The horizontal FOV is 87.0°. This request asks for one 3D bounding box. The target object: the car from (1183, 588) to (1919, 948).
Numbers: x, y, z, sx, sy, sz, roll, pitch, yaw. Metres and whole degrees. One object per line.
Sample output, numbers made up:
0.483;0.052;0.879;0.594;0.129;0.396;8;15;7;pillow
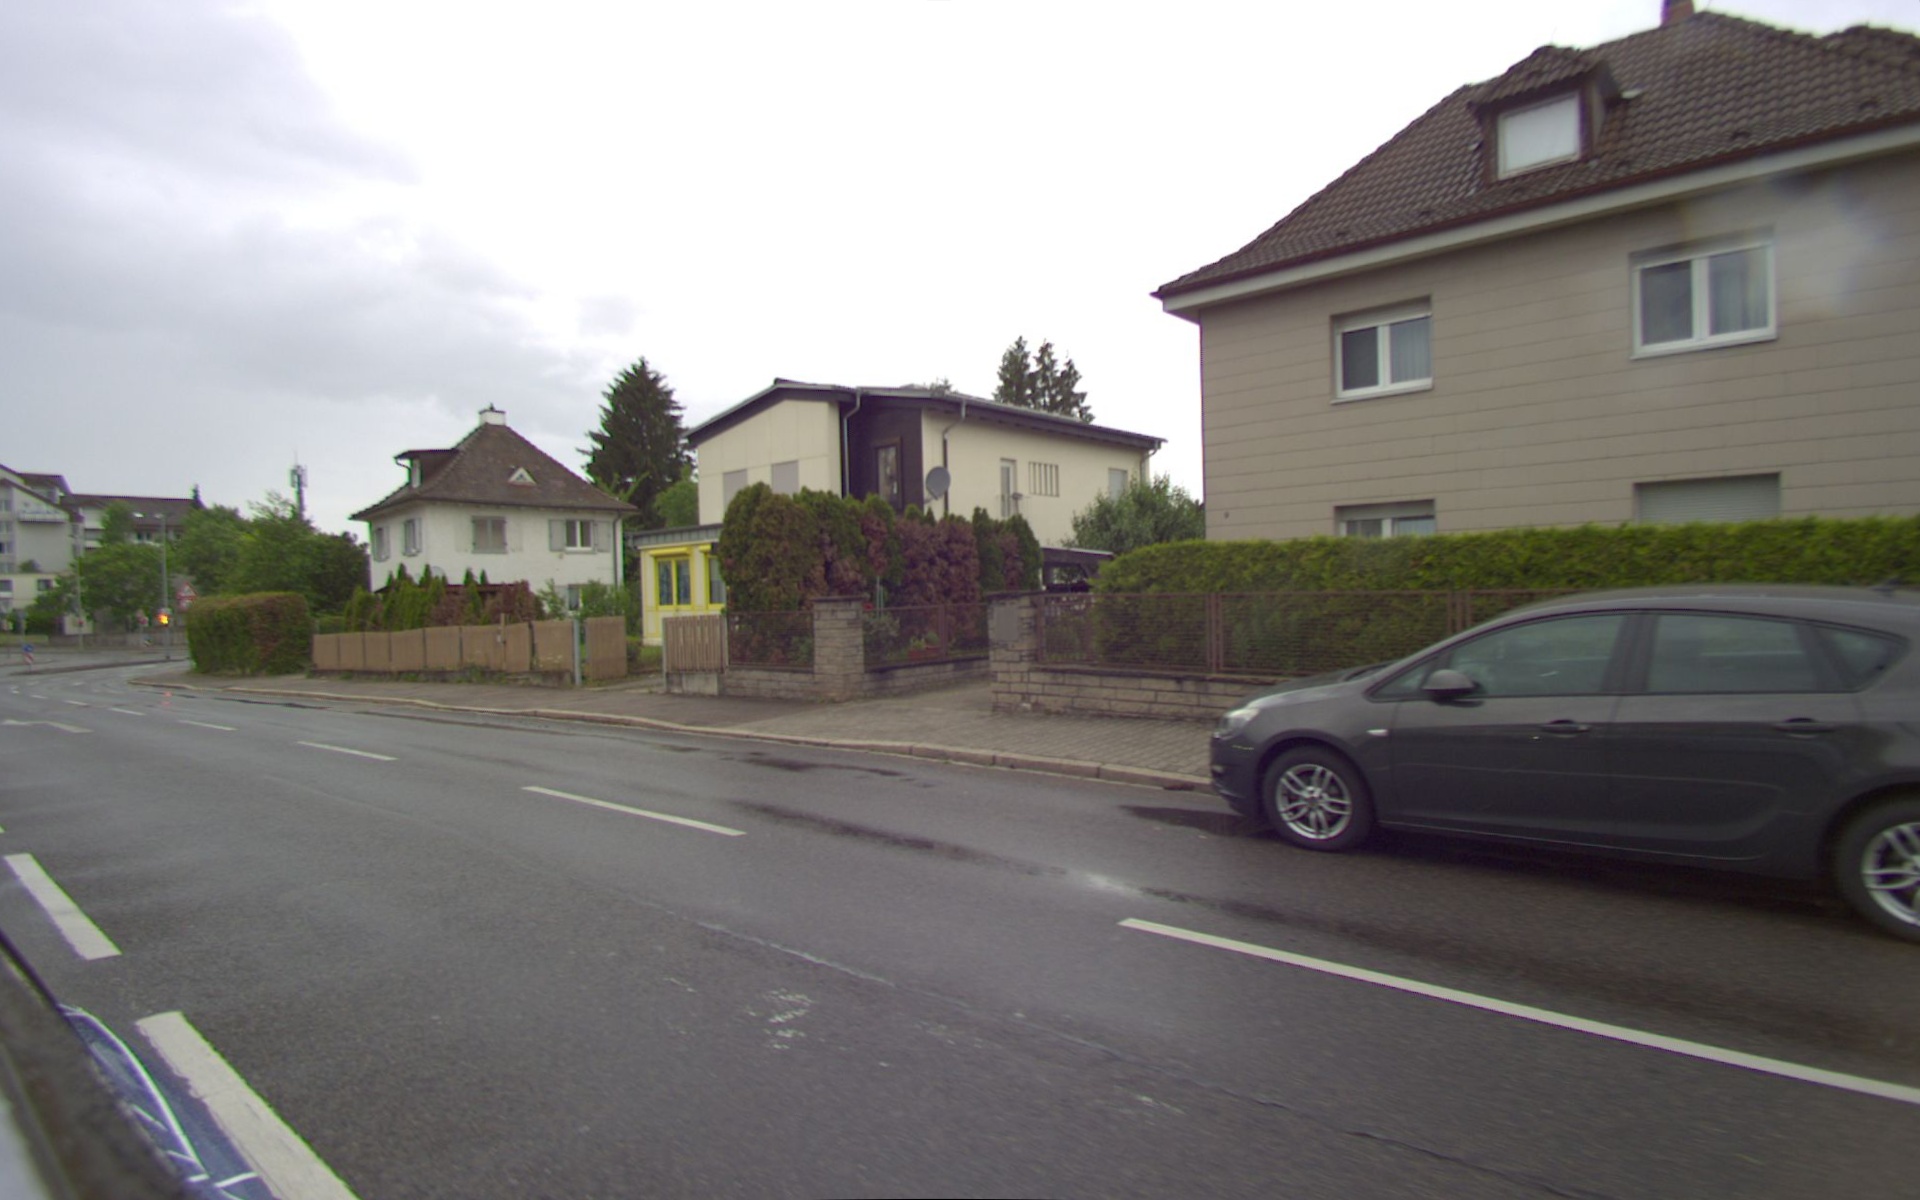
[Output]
3.499;0.685;5.550;4.128;1.450;1.732;-1;0;41;car
